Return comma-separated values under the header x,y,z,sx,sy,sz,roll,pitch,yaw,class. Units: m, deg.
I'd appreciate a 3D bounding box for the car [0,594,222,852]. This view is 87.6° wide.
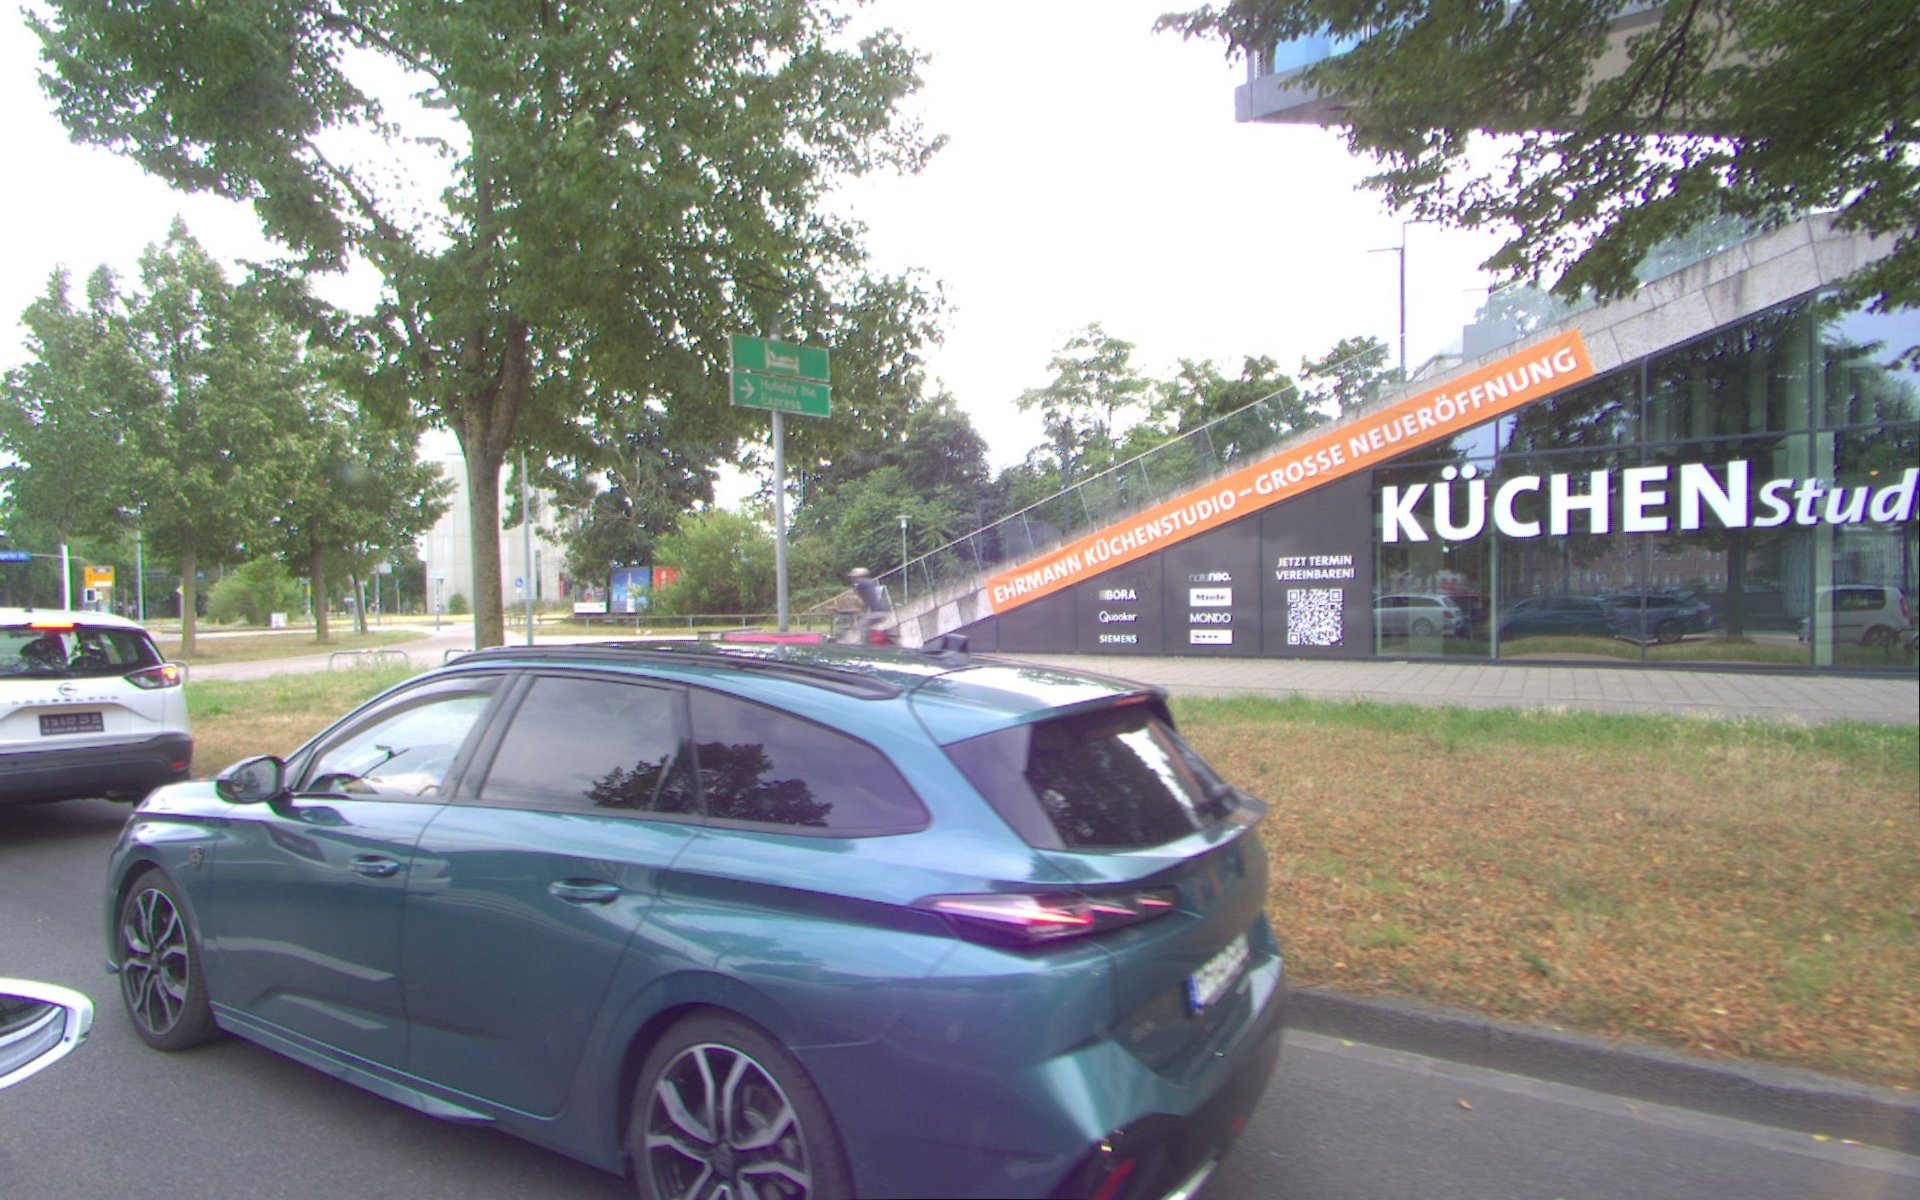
x,y,z,sx,sy,sz,roll,pitch,yaw,class
-7.571,0.800,7.698,3.854,1.646,1.783,0,0,33,car

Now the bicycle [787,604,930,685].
x,y,z,sx,sy,sz,roll,pitch,yaw,class
-1.676,0.693,16.358,2.234,1.251,0.900,0,0,31,bicycle

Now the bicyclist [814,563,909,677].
x,y,z,sx,sy,sz,roll,pitch,yaw,class
-1.592,0.305,16.283,1.113,1.761,0.994,0,3,31,bicyclist

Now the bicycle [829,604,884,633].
x,y,z,sx,sy,sz,roll,pitch,yaw,class
-3.787,0.677,36.635,1.904,0.997,0.564,-1,1,12,bicycle

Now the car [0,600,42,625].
x,y,z,sx,sy,sz,roll,pitch,yaw,class
-64.993,0.842,69.256,4.352,1.658,1.774,0,0,42,car

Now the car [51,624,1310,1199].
x,y,z,sx,sy,sz,roll,pitch,yaw,class
-1.139,0.826,3.514,4.245,1.450,1.786,0,-1,29,car
